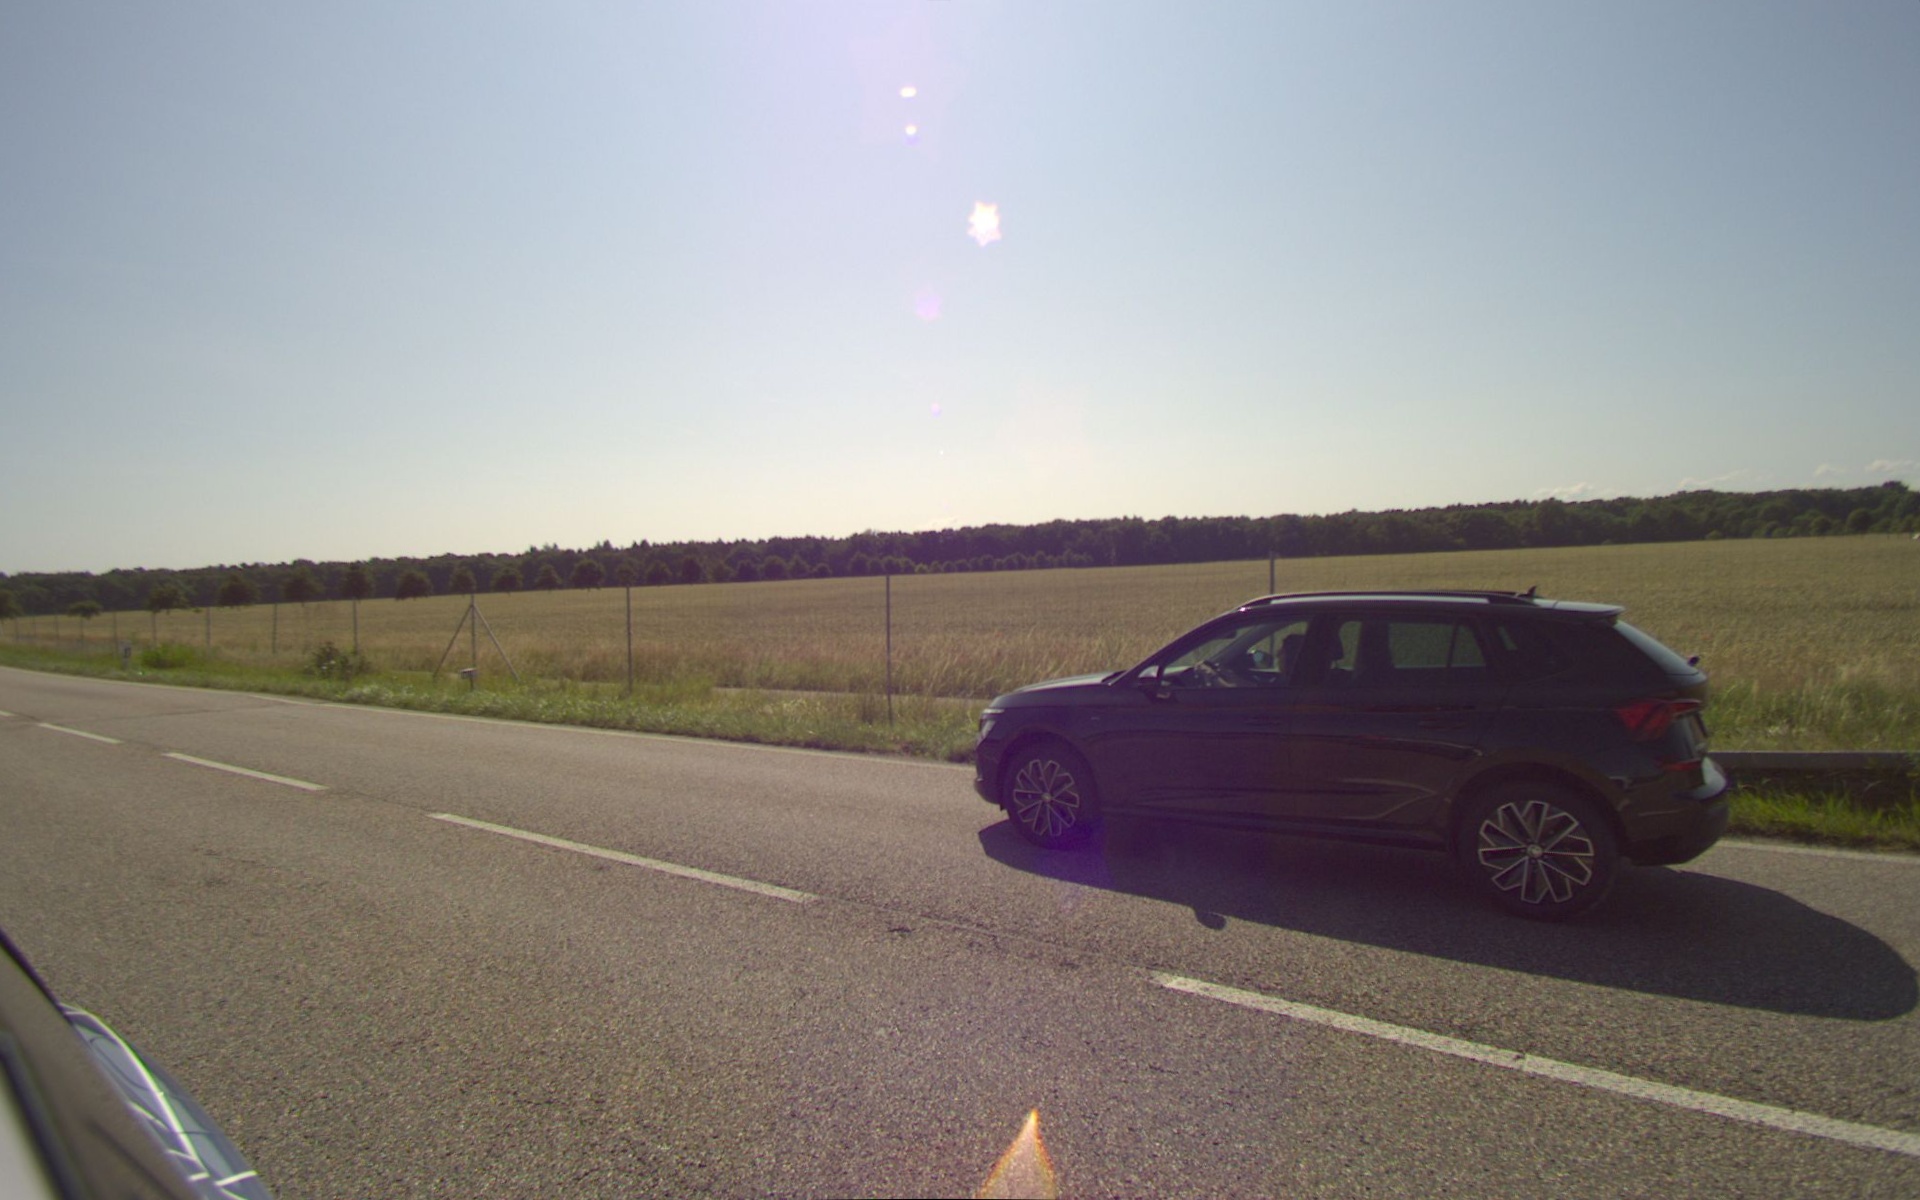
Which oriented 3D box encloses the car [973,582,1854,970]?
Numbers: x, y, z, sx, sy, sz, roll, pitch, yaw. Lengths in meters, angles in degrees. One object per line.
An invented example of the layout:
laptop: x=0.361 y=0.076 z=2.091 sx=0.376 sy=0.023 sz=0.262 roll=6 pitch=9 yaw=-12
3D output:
car: x=2.301 y=0.738 z=5.922 sx=4.153 sy=1.519 sz=1.813 roll=-2 pitch=-1 yaw=35
